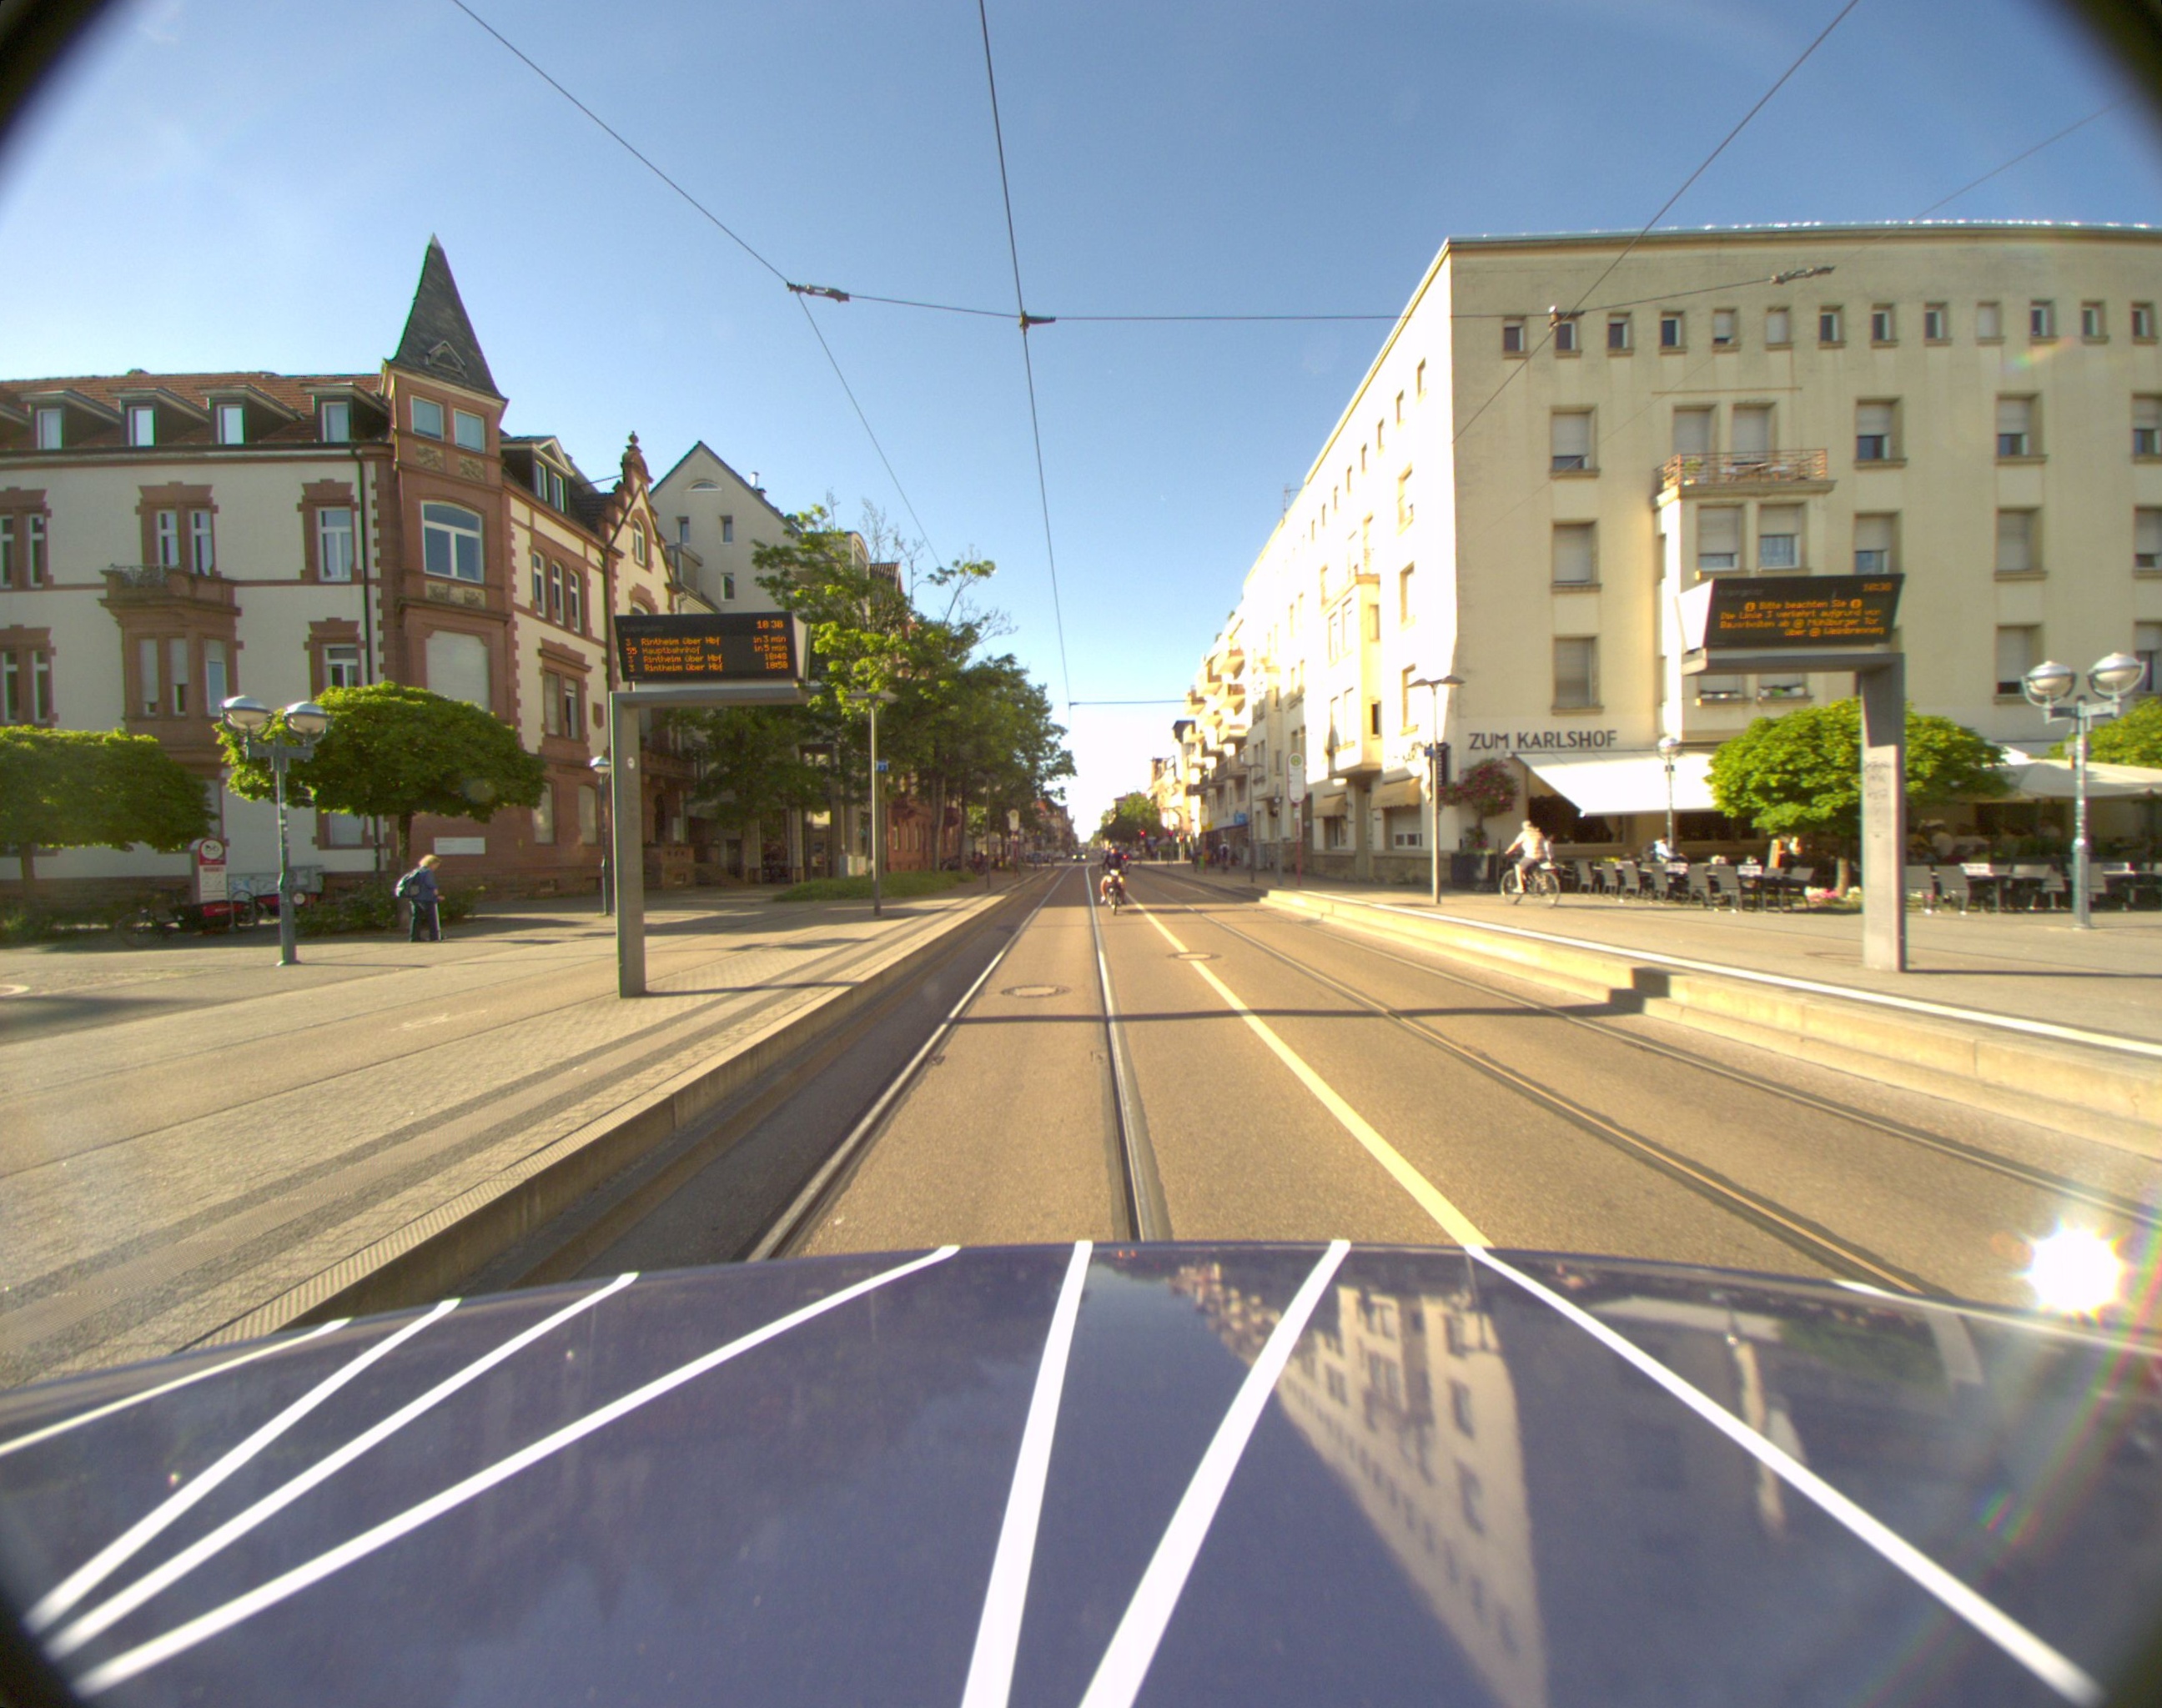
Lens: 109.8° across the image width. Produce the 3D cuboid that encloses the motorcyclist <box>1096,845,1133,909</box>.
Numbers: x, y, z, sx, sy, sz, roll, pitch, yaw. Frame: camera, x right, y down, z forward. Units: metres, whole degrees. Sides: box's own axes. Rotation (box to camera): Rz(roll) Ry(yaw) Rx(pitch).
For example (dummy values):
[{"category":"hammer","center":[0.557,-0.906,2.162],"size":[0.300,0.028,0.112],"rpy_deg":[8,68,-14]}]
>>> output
[{"category":"motorcyclist","center":[0.782,0.525,18.034],"size":[0.821,1.466,1.113],"rpy_deg":[-1,1,1]}]

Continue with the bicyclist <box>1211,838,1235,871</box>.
[{"category":"bicyclist","center":[7.870,0.023,42.096],"size":[1.006,1.783,1.095],"rpy_deg":[-1,1,-4]}]

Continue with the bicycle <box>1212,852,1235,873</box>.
[{"category":"bicycle","center":[7.884,0.448,42.140],"size":[0.714,1.119,2.035],"rpy_deg":[-1,1,-5]}]

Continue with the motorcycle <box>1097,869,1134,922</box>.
[{"category":"motorcycle","center":[0.784,0.943,18.092],"size":[0.799,1.090,2.428],"rpy_deg":[-1,1,1]}]

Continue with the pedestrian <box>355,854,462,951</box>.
[{"category":"pedestrian","center":[-12.184,0.848,13.810],"size":[1.070,1.659,0.956],"rpy_deg":[-1,1,-12]}]

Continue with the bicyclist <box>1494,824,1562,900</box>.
[{"category":"bicyclist","center":[8.814,0.146,15.007],"size":[0.829,1.447,0.877],"rpy_deg":[-2,2,4]}]

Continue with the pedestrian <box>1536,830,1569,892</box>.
[{"category":"pedestrian","center":[12.627,0.195,20.361],"size":[0.672,1.634,0.752],"rpy_deg":[-1,-2,27]}]

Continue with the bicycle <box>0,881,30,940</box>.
[{"category":"bicycle","center":[-25.827,1.355,16.912],"size":[0.746,1.364,2.914],"rpy_deg":[-1,1,1]}]

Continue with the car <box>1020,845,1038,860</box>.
[{"category":"car","center":[-7.291,-0.235,106.417],"size":[1.998,2.002,4.001],"rpy_deg":[-1,1,4]}]

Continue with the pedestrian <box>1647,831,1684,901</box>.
[{"category":"pedestrian","center":[13.913,0.292,18.100],"size":[0.672,1.634,0.678],"rpy_deg":[-1,-2,38]}]

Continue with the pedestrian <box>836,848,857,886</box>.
[{"category":"pedestrian","center":[-10.837,0.596,35.120],"size":[0.742,1.725,0.877],"rpy_deg":[-1,1,-6]}]

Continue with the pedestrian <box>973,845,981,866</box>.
[{"category":"pedestrian","center":[-10.094,0.148,73.938],"size":[0.653,2.002,0.559],"rpy_deg":[-1,1,3]}]

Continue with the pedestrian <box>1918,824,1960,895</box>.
[{"category":"pedestrian","center":[22.248,0.131,19.705],"size":[0.578,1.813,0.647],"rpy_deg":[-2,1,-36]}]

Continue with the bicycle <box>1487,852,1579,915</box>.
[{"category":"bicycle","center":[8.831,0.548,14.943],"size":[0.730,1.107,1.977],"rpy_deg":[-2,1,4]}]

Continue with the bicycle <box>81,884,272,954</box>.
[{"category":"bicycle","center":[-18.201,1.252,15.450],"size":[0.790,1.063,2.804],"rpy_deg":[-1,2,-8]}]

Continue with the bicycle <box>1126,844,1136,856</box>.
[{"category":"bicycle","center":[7.223,-0.616,110.003],"size":[1.227,1.719,3.108],"rpy_deg":[-1,1,7]}]

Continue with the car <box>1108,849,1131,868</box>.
[{"category":"car","center":[3.251,0.345,64.960],"size":[1.671,1.479,3.999],"rpy_deg":[-2,1,0]}]

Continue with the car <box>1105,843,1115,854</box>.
[{"category":"car","center":[5.631,-1.043,147.950],"size":[1.877,2.105,4.000],"rpy_deg":[-1,1,2]}]

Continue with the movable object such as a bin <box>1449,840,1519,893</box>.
[{"category":"movable object such as a bin","center":[11.176,0.335,21.118],"size":[1.319,1.392,1.128],"rpy_deg":[-1,1,-1]}]

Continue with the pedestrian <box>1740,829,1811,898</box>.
[{"category":"pedestrian","center":[16.959,0.216,18.573],"size":[1.066,1.635,0.756],"rpy_deg":[-1,1,-4]}]

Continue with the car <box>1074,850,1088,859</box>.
[{"category":"car","center":[0.002,0.066,108.385],"size":[1.998,1.318,3.863],"rpy_deg":[-1,1,1]}]
